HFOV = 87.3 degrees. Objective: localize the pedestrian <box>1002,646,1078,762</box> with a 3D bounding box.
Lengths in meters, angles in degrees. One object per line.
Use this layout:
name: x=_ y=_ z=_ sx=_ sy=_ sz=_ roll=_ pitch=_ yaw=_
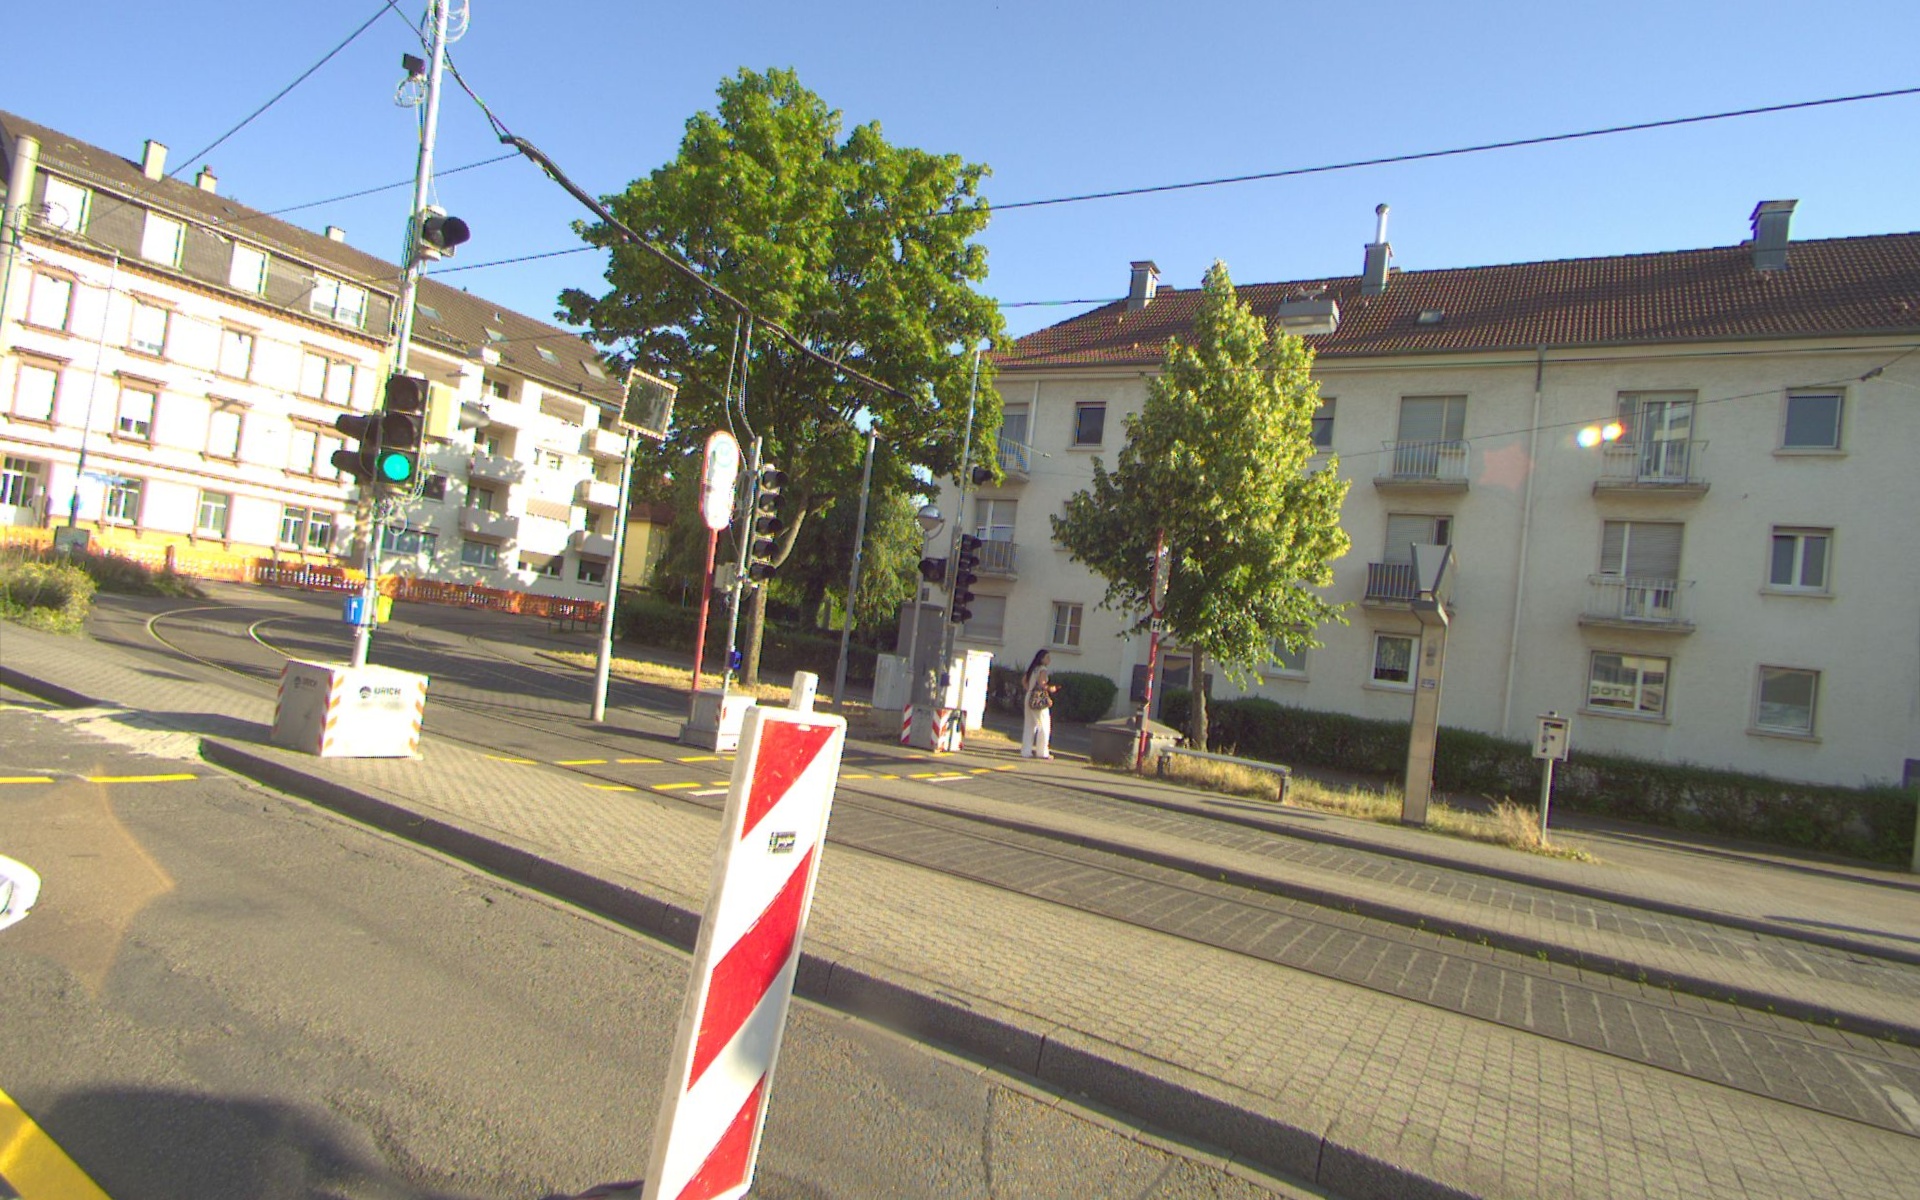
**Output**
pedestrian: x=1.223 y=1.589 z=15.491 sx=0.778 sy=1.639 sz=0.825 roll=7 pitch=-1 yaw=-14
